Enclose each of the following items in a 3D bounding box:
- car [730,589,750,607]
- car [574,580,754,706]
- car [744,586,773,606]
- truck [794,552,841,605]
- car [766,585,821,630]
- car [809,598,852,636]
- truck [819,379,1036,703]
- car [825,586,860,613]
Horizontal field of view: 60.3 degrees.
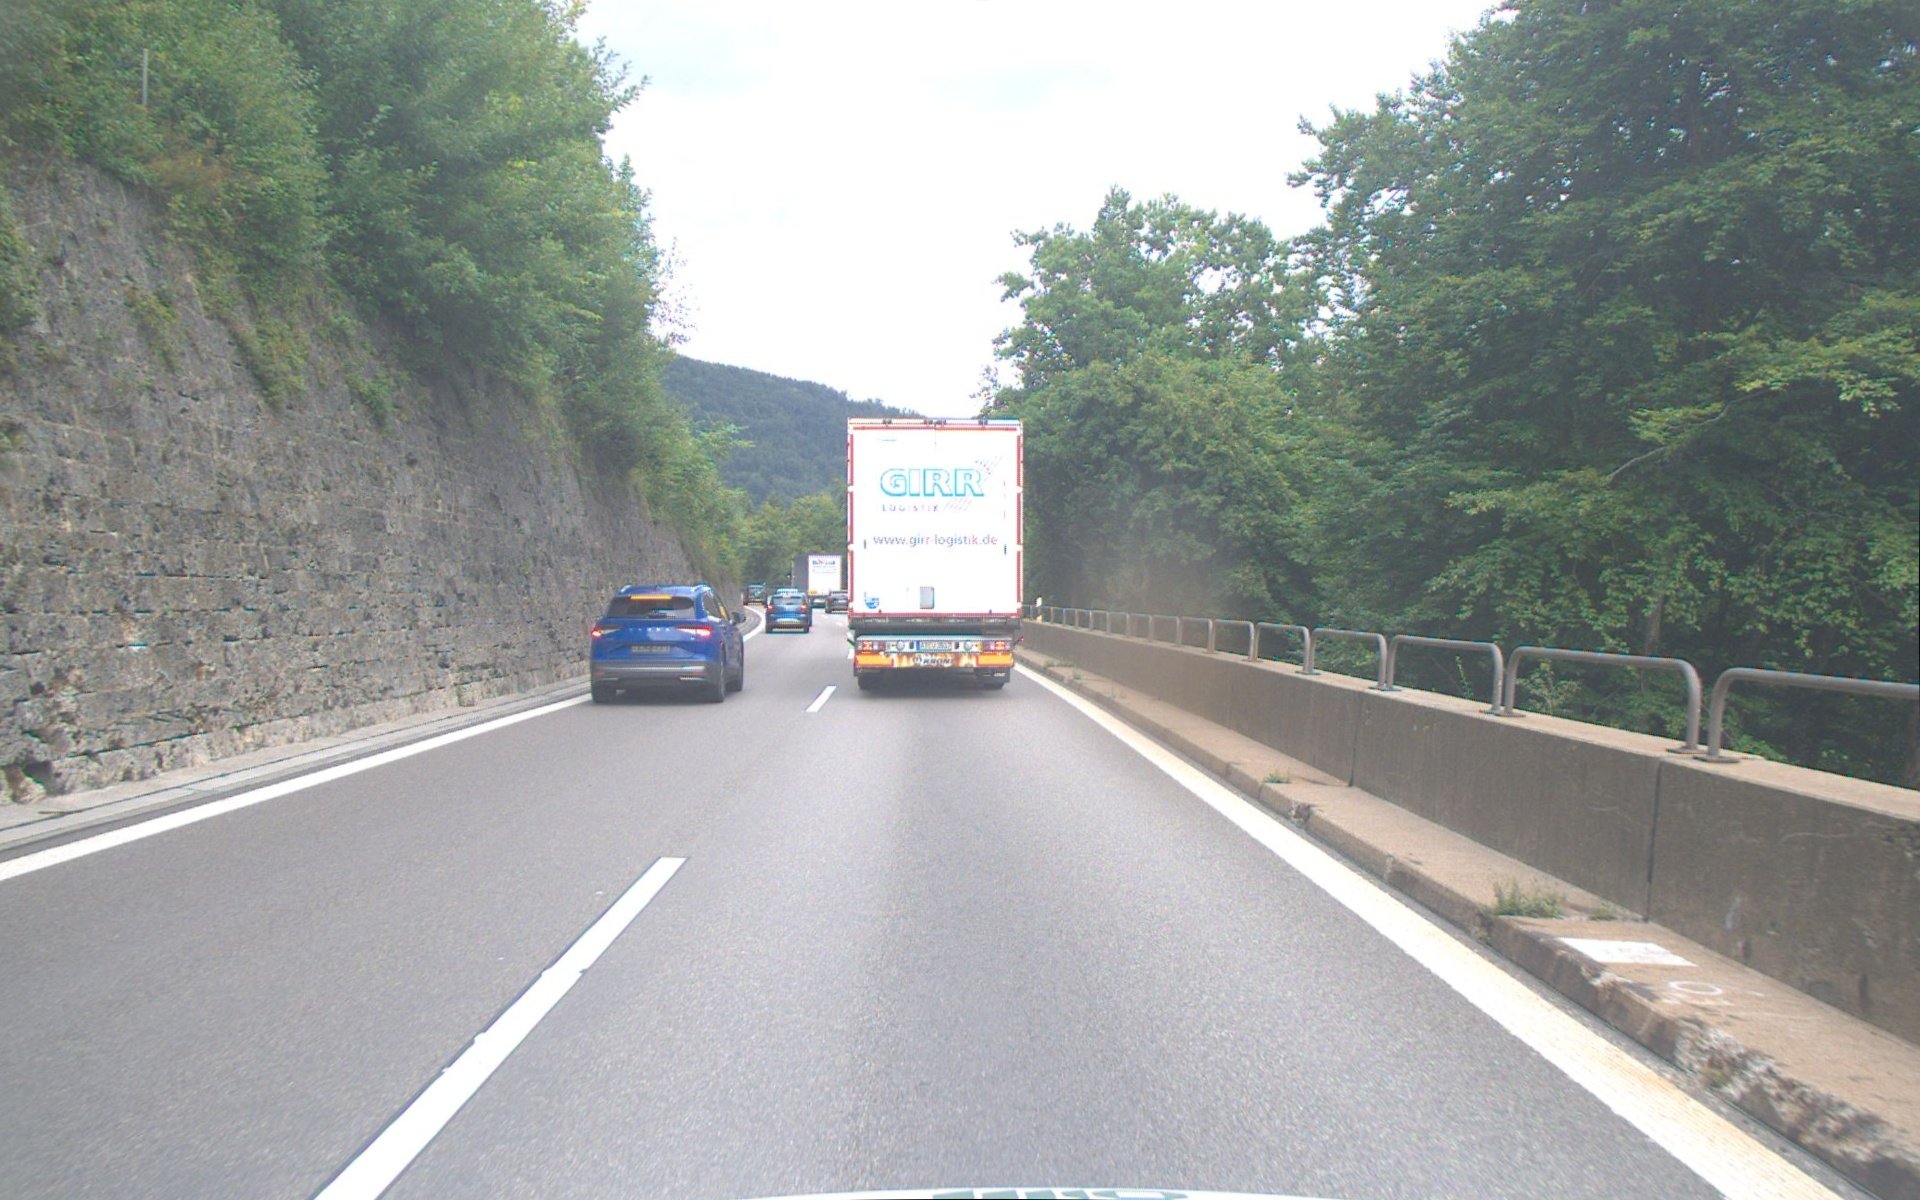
[{"bbox_3d":[-22.374,-0.211,168.374,1.714,1.614,3.990,6,-1,-10],"label":"car"},{"bbox_3d":[-4.220,0.563,24.359,1.953,1.660,5.006,0,0,-2],"label":"car"},{"bbox_3d":[-16.800,-0.325,137.868,1.865,1.577,4.234,1,1,-14],"label":"car"},{"bbox_3d":[-11.178,-1.656,128.861,2.586,3.925,12.331,-1,1,-10],"label":"truck"},{"bbox_3d":[-6.385,0.262,62.981,1.956,1.624,4.347,1,0,-7],"label":"car"},{"bbox_3d":[-5.750,0.769,73.012,1.712,1.614,3.993,-1,-1,-7],"label":"car"},{"bbox_3d":[-0.650,-0.918,30.922,3.022,4.542,15.151,-1,1,-2],"label":"truck"},{"bbox_3d":[-7.615,-0.059,106.601,2.021,1.683,3.993,-1,1,-8],"label":"car"}]
